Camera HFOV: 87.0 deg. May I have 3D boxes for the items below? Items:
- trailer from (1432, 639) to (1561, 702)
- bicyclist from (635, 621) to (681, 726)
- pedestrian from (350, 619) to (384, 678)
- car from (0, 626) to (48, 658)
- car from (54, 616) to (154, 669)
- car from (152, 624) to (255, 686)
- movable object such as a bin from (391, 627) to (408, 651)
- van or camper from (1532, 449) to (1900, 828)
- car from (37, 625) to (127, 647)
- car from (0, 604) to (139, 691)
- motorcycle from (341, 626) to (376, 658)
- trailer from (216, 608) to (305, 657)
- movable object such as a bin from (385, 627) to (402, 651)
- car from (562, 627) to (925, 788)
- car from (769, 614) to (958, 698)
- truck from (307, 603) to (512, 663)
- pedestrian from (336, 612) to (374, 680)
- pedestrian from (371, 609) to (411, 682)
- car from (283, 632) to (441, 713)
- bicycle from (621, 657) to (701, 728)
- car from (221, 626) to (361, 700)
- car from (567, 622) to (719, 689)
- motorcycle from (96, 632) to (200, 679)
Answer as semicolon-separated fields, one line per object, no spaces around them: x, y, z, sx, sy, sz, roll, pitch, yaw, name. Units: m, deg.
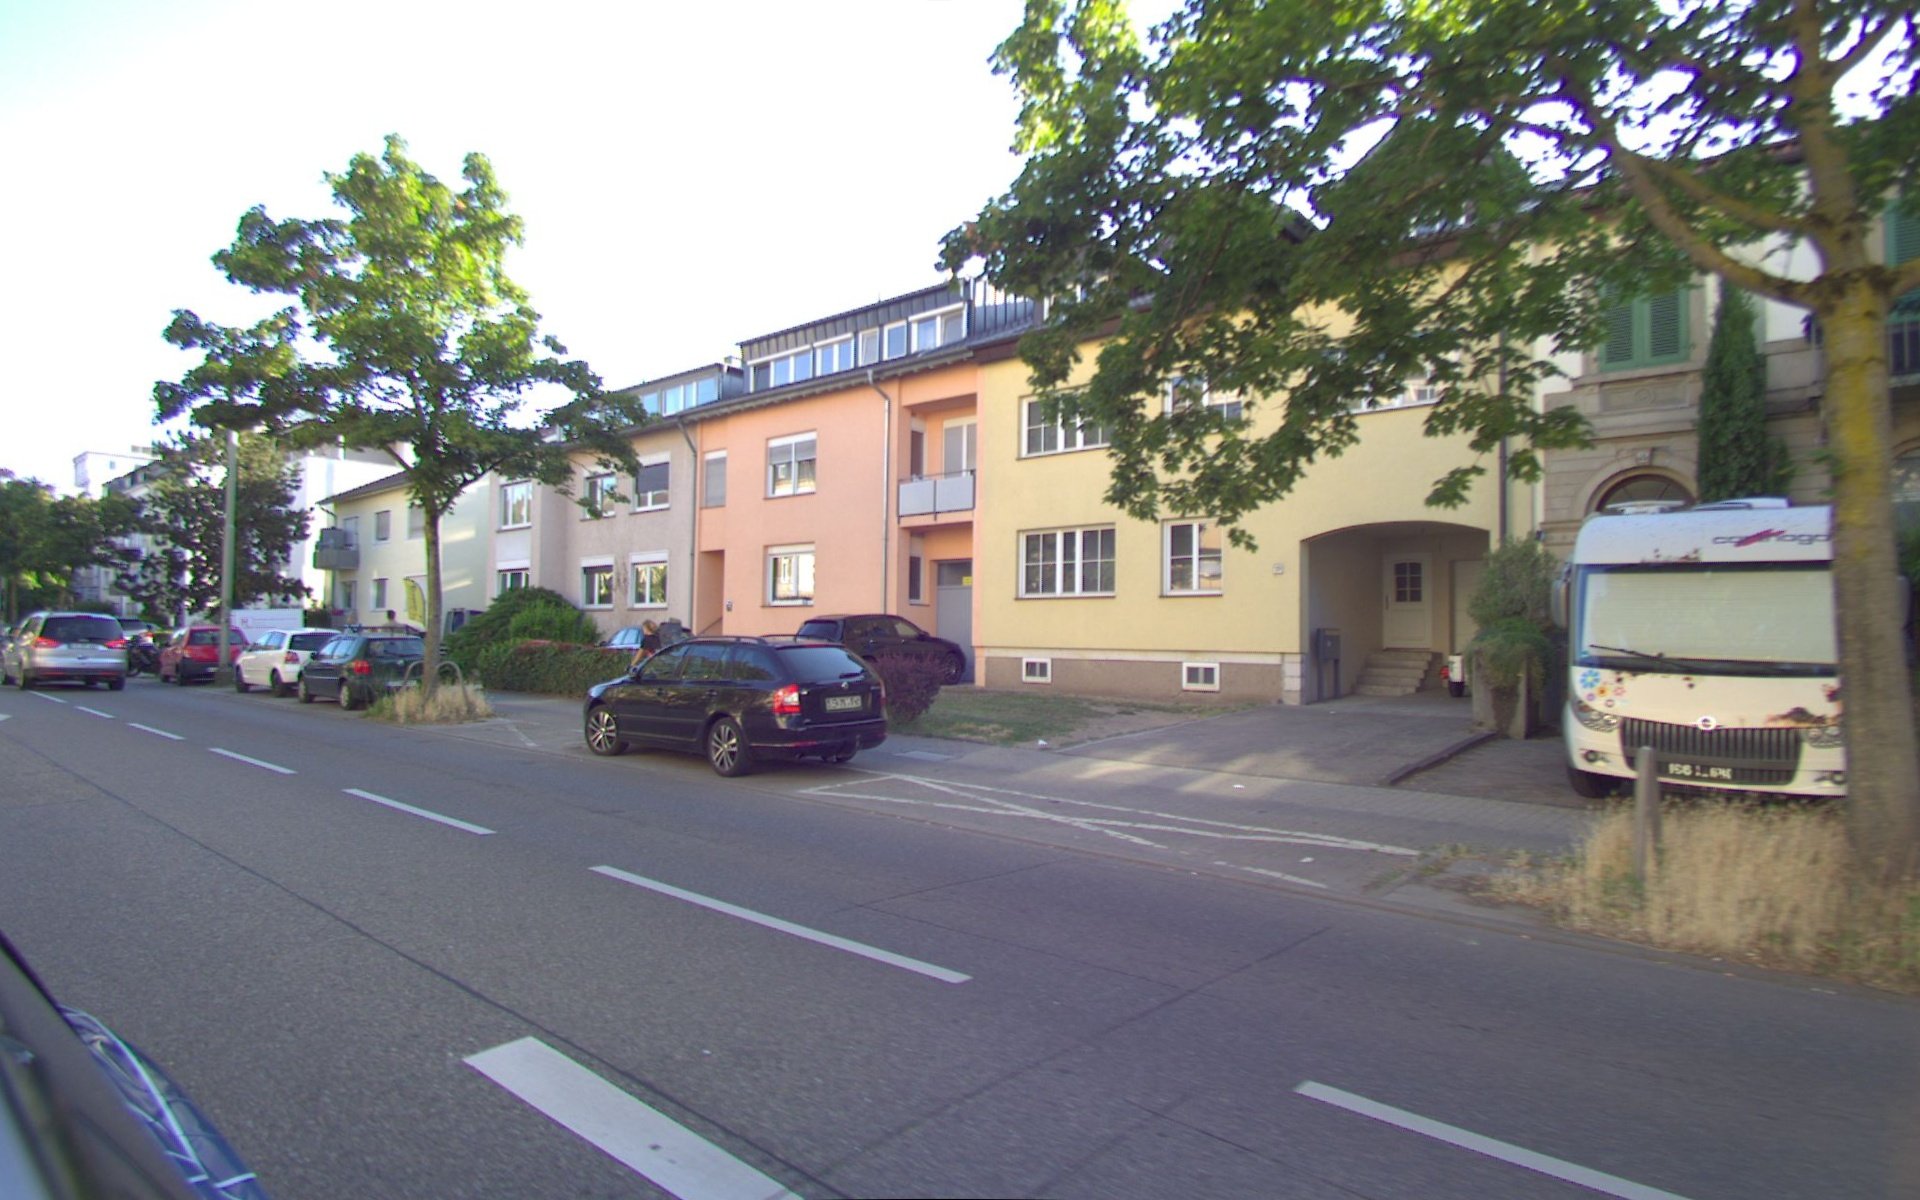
9.940;1.262;18.704;1.626;0.967;2.379;-1;0;40;trailer
-4.940;1.181;16.546;0.552;1.676;0.464;-1;-3;40;bicyclist
-15.431;1.259;26.330;0.542;1.507;0.583;-1;-3;43;pedestrian
-44.600;1.961;47.845;4.441;1.418;1.620;-1;-3;40;car
-30.588;1.491;36.110;4.722;1.793;1.868;-1;-3;39;car
-19.952;1.404;26.645;3.436;1.535;1.575;-1;-3;43;car
-24.326;1.702;43.925;0.449;1.026;0.497;-1;-3;40;movable object such as a bin
8.131;0.282;10.830;2.350;2.794;6.730;-1;-1;39;van or camper
-62.136;2.527;71.720;1.734;1.416;4.516;-1;0;30;car
-20.719;1.090;23.380;4.742;1.818;1.787;-1;-4;40;car
-26.442;1.846;44.456;2.257;1.384;0.564;-1;-3;40;motorcycle
-29.865;1.402;43.258;1.550;2.029;2.746;-1;-3;38;trailer
-24.754;1.709;44.241;0.449;1.026;0.497;-1;-3;40;movable object such as a bin
-2.689;1.091;11.892;4.515;1.506;1.848;-1;-1;41;car
-2.048;1.151;22.323;1.865;1.648;3.945;-1;-1;41;car
-21.827;1.351;40.489;2.275;2.202;6.824;-1;-3;40;truck
-16.243;1.228;27.161;0.506;1.806;0.706;-1;-3;43;pedestrian
-14.409;1.151;25.636;0.572;1.806;0.706;-1;-3;43;pedestrian
-11.666;1.344;19.674;3.663;1.407;1.527;-1;-3;41;car
-4.899;1.481;16.555;1.533;1.072;0.481;-1;-3;40;bicycle
-15.237;1.363;22.990;3.887;1.535;1.577;-1;-3;40;car
-7.337;1.242;23.264;3.752;1.420;1.647;-1;-4;42;car
-23.343;1.580;29.098;2.349;1.276;1.176;0;-3;17;motorcycle
